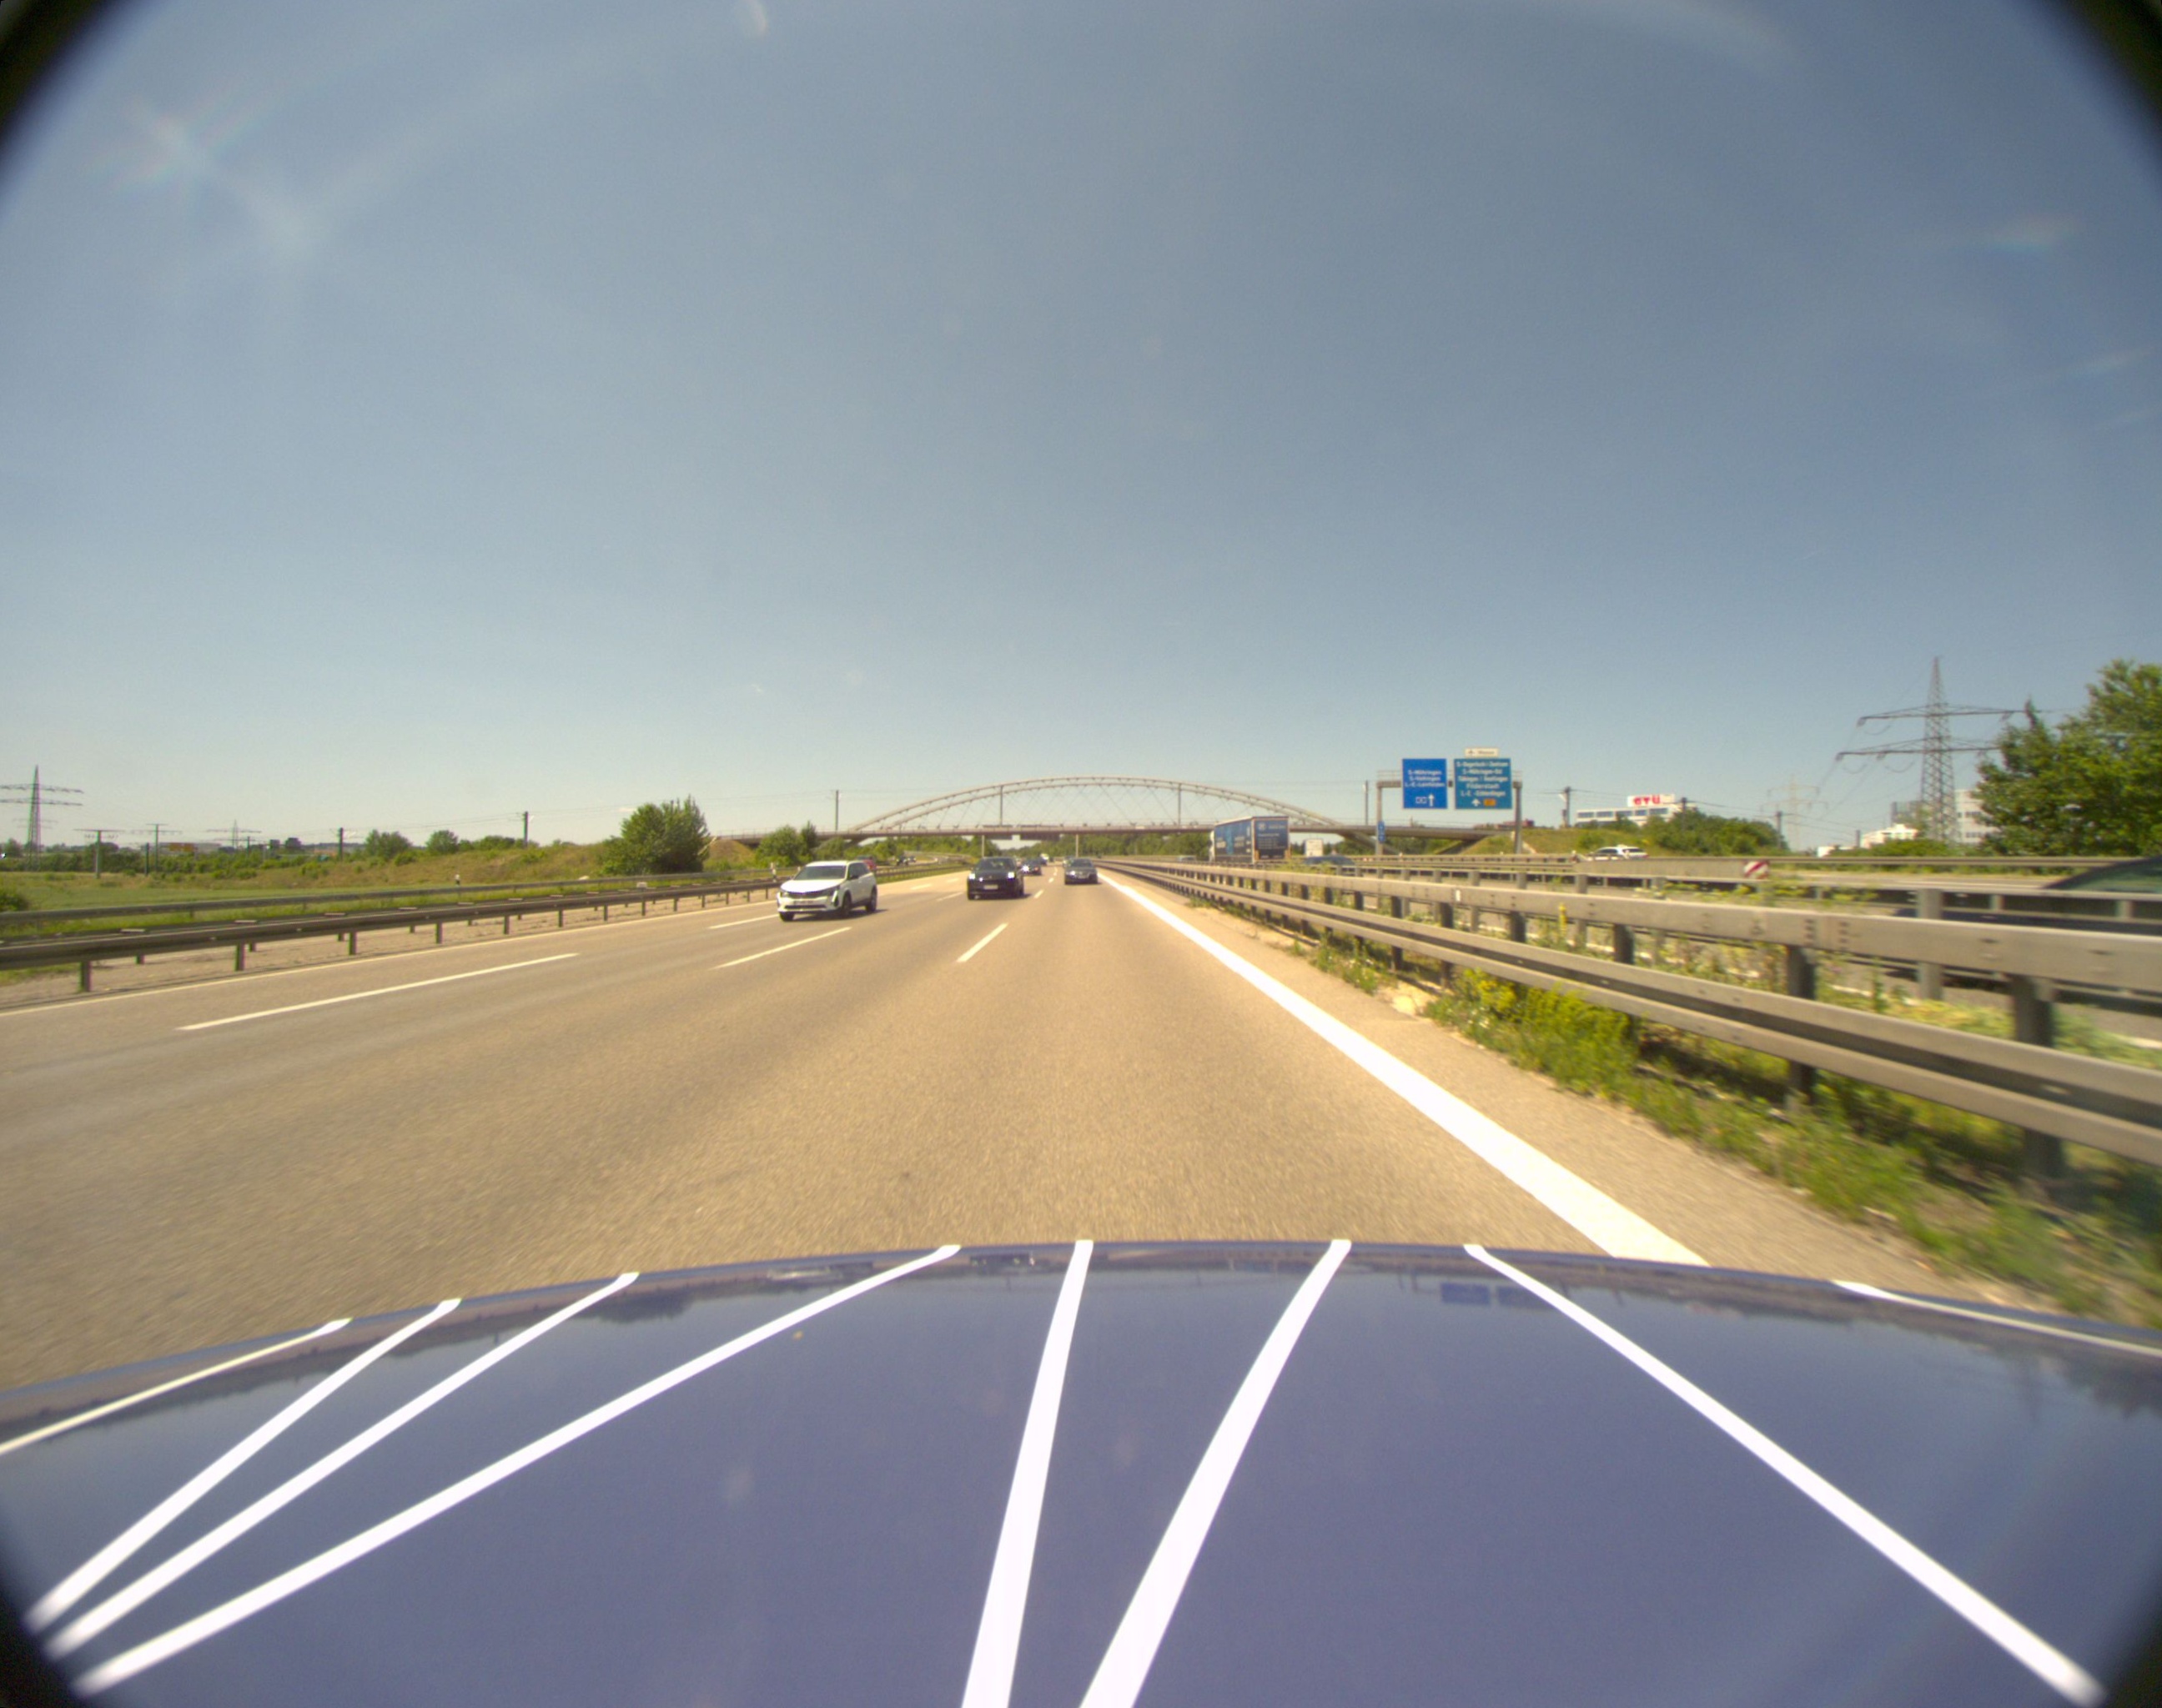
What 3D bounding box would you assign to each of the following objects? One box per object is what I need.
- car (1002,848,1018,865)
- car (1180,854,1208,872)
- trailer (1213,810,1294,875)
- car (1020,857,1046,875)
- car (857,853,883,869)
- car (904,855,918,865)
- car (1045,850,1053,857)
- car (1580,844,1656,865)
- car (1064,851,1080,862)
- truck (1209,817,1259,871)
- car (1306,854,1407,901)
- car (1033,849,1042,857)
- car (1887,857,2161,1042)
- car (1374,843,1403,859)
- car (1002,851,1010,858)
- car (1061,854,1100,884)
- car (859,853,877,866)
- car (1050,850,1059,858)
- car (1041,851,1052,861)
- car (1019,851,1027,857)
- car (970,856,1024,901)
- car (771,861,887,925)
[{"bbox_3d":[-8.722,0.283,93.512,1.809,1.908,4.293,-2,1,-3],"label":"car"},{"bbox_3d":[10.024,0.750,67.585,1.872,1.455,4.638,-1,0,1],"label":"car"},{"bbox_3d":[13.056,-0.850,59.149,2.953,4.317,14.618,-2,1,0],"label":"trailer"},{"bbox_3d":[-4.021,0.967,63.980,1.932,1.390,4.117,-2,1,-1],"label":"car"},{"bbox_3d":[-22.177,0.702,80.025,1.704,1.566,4.126,-2,1,-3],"label":"car"},{"bbox_3d":[-30.632,1.075,136.965,1.704,1.566,4.126,-2,1,-4],"label":"car"},{"bbox_3d":[-9.331,-0.272,220.950,1.998,2.002,4.000,-2,1,1],"label":"car"},{"bbox_3d":[33.598,0.033,47.673,1.682,1.196,4.402,-1,0,1],"label":"car"},{"bbox_3d":[-1.213,0.289,102.389,1.932,1.390,4.116,-2,1,-4],"label":"car"},{"bbox_3d":[13.070,-0.833,65.442,2.935,4.319,6.915,-2,1,1],"label":"truck"},{"bbox_3d":[9.452,0.757,26.496,1.872,1.455,4.638,-1,0,1],"label":"car"},{"bbox_3d":[-12.084,-0.232,211.822,1.998,2.002,4.000,-2,1,1],"label":"car"},{"bbox_3d":[9.653,0.786,5.975,1.682,1.455,4.704,-1,0,1],"label":"car"},{"bbox_3d":[36.680,-0.378,90.674,1.874,1.734,4.000,-2,1,1],"label":"car"},{"bbox_3d":[-22.885,0.190,232.796,1.998,2.002,4.000,-2,1,1],"label":"car"},{"bbox_3d":[0.019,0.803,42.448,1.931,1.499,4.391,-2,1,2],"label":"car"},{"bbox_3d":[-27.239,0.714,97.401,1.705,1.566,4.124,-2,1,-9],"label":"car"},{"bbox_3d":[-6.595,-0.048,189.111,1.998,1.849,3.999,-2,1,0],"label":"car"},{"bbox_3d":[-6.202,0.336,137.814,1.925,1.761,3.999,-2,1,-2],"label":"car"},{"bbox_3d":[-18.484,0.053,242.633,1.998,2.002,4.000,-2,1,1],"label":"car"},{"bbox_3d":[-3.258,0.903,29.929,1.932,1.586,4.130,-2,1,-5],"label":"car"},{"bbox_3d":[-7.281,1.055,22.496,1.748,1.582,4.620,-2,1,1],"label":"car"}]
